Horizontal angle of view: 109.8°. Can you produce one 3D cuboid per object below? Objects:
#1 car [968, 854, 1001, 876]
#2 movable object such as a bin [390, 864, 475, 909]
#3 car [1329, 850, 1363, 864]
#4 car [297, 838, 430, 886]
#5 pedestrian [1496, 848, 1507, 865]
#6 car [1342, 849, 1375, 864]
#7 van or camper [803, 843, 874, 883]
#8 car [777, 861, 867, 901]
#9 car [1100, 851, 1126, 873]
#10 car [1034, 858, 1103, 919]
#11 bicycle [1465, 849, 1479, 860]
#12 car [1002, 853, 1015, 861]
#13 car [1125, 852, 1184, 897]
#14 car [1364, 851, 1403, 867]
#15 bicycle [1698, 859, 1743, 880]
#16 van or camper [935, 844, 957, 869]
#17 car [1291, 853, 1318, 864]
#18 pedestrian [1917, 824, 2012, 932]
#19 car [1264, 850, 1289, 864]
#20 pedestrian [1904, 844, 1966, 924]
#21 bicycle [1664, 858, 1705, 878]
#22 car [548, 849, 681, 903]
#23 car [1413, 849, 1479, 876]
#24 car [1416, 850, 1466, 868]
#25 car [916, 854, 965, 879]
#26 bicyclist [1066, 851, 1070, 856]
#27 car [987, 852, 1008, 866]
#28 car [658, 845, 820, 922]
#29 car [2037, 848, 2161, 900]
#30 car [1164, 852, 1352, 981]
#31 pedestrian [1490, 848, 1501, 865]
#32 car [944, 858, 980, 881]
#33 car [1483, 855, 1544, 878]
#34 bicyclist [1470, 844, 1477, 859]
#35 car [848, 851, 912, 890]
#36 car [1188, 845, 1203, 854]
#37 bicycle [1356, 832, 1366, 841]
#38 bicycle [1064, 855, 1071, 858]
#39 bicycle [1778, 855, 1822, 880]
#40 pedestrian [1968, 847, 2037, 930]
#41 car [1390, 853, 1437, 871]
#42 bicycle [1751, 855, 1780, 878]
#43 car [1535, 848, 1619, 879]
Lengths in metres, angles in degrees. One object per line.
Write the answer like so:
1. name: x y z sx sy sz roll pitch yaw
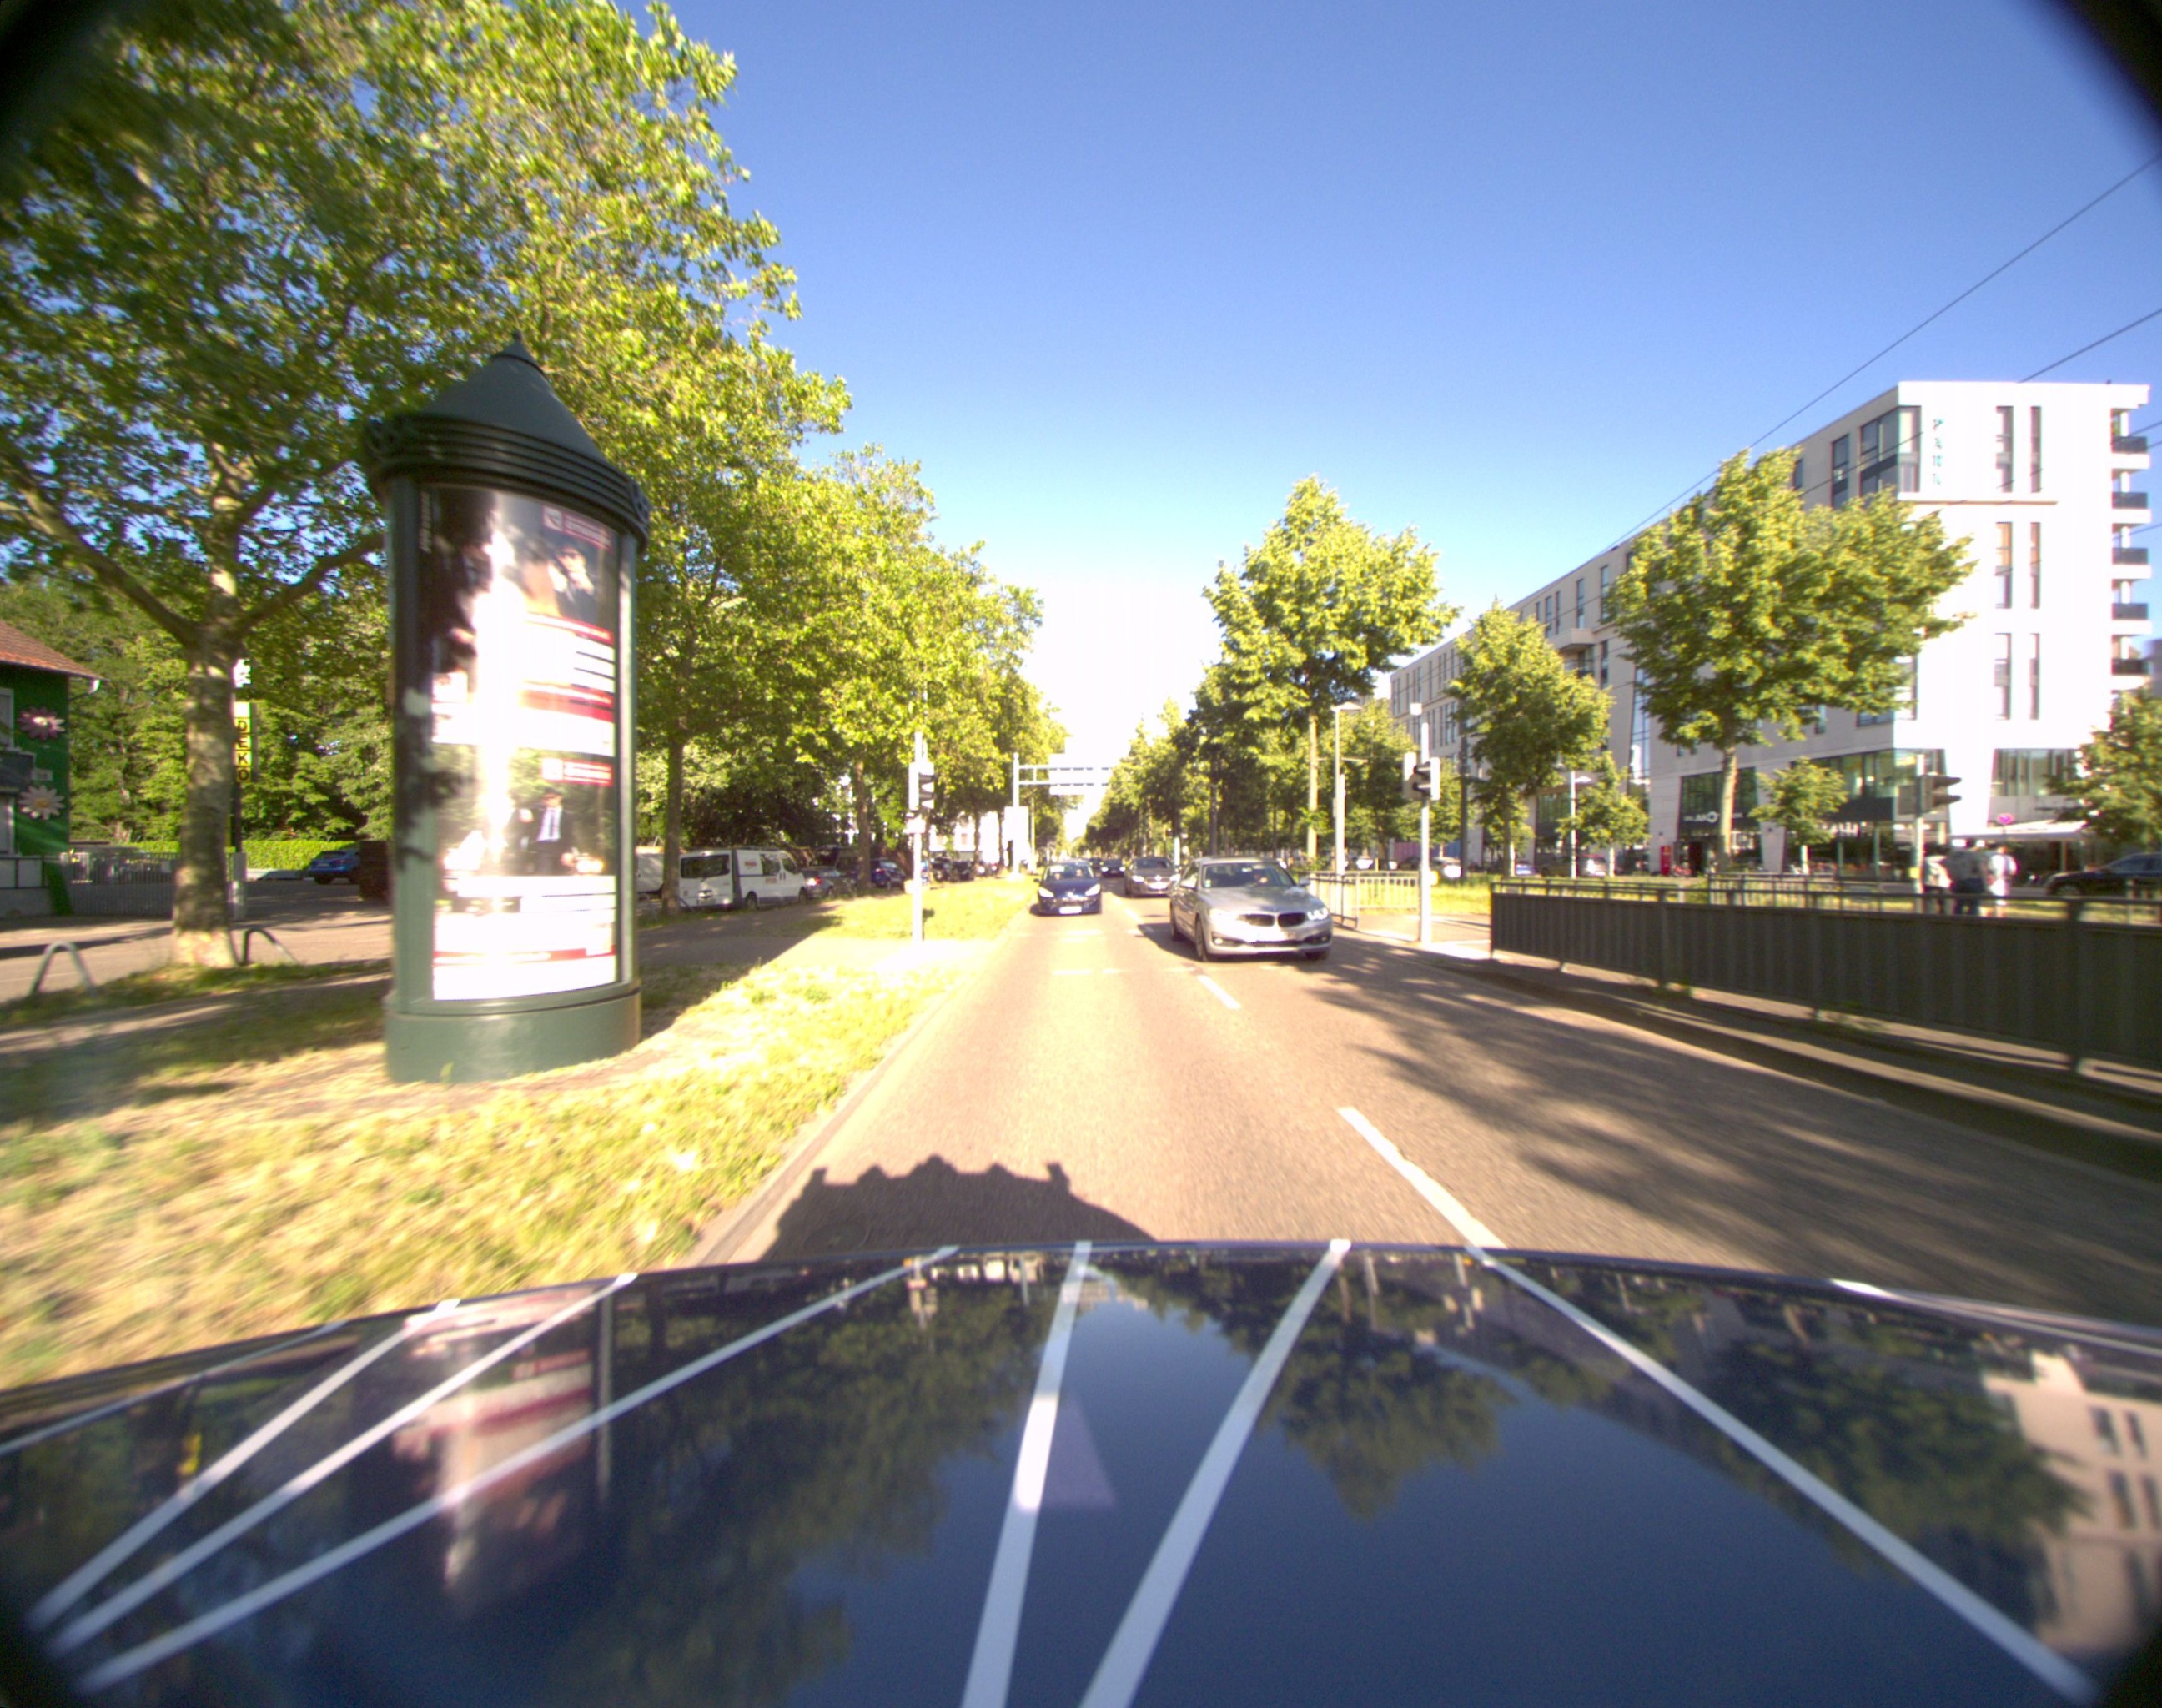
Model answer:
1. car: -7.591 0.860 60.135 1.797 1.551 4.020 -4 1 3
2. movable object such as a bin: -22.533 1.109 26.447 1.648 1.461 1.485 1 1 -1
3. car: 30.812 0.329 88.492 1.999 1.433 4.777 -2 1 -3
4. car: -32.606 0.313 34.721 1.998 2.002 4.001 -2 1 5
5. pedestrian: 41.243 0.240 74.543 0.637 1.641 0.719 -2 1 -8
6. car: 30.481 0.242 83.592 1.999 1.433 4.455 -2 1 -1
7. van or camper: -17.421 0.608 54.955 2.562 2.668 6.567 1 0 4
8. car: -9.911 0.974 29.403 1.998 1.282 4.052 -2 1 1
9. car: 2.407 0.601 58.089 1.782 1.571 3.783 -2 1 0
10. car: -0.295 0.907 21.791 1.766 1.462 3.999 -2 1 1
11. bicycle: 36.376 0.013 70.748 0.380 1.011 1.800 -2 1 1
12. car: -14.872 0.603 155.155 1.998 1.477 4.402 2 1 2
13. car: 2.689 0.708 28.741 1.951 1.514 4.000 -1 1 2
14. car: 30.772 0.510 77.410 1.999 1.433 4.454 -2 1 -3
15. bicycle: 38.440 0.900 45.716 0.735 1.191 2.240 -2 1 -1
16. van or camper: -16.013 0.263 90.387 1.999 2.715 4.962 2 1 -3
17. car: 30.810 0.627 104.787 1.999 1.433 4.923 -2 1 -3
18. pedestrian: 15.592 0.402 13.426 0.823 1.825 0.726 -2 1 -3
19. car: 22.522 0.292 87.569 1.998 1.562 4.167 -1 0 2
20. pedestrian: 16.736 0.574 14.902 0.551 1.509 0.588 -2 1 5
21. bicycle: 38.458 0.867 48.444 0.735 1.191 2.240 -2 1 -1
22. car: -18.973 0.808 31.234 2.091 2.002 4.943 -1 0 4
23. car: 22.359 0.497 46.723 1.999 1.477 3.998 -2 1 -2
24. car: 31.167 0.381 65.944 1.999 1.433 4.454 -2 1 -3
25. car: -8.809 0.765 48.047 1.998 1.373 4.677 -3 0 3
26. bicyclist: -3.870 -0.097 222.714 1.086 1.315 0.639 0 1 2
27. car: -10.447 0.626 95.005 2.001 1.630 3.994 -2 1 -16
28. car: -10.188 0.757 23.326 2.195 2.002 5.819 -2 1 1
29. car: 31.402 0.559 21.913 1.884 1.426 4.611 -1 0 1
30. car: 2.529 0.804 11.980 1.887 1.569 4.277 -2 1 -1
31. pedestrian: 40.436 0.276 74.094 0.637 1.641 0.720 -2 1 -3
32. car: -8.336 1.063 53.421 1.797 1.429 3.884 -2 1 1
33. car: 31.044 0.883 54.724 1.963 1.433 4.264 -2 1 0
34. bicyclist: 36.272 -0.245 70.220 0.368 1.296 0.719 -2 1 4
35. car: -9.505 0.733 36.233 1.741 1.632 4.352 -2 1 1
36. car: 19.694 -0.865 130.606 1.998 1.433 4.456 -2 1 2
37. bicycle: 37.723 -2.352 102.386 0.599 1.273 1.608 -2 1 -2
38. bicycle: -3.886 0.650 222.699 1.928 0.899 0.647 0 1 2
39. bicycle: 38.479 0.699 40.686 0.589 1.245 1.839 -2 1 -1
40. pedestrian: 17.174 0.626 14.167 0.544 1.488 0.603 -2 1 4
41. car: 30.937 0.728 70.903 1.999 1.433 4.935 -2 1 -3
42. bicycle: 38.489 0.693 42.737 0.588 1.245 1.842 -2 1 21
43. car: 31.063 0.557 47.811 1.999 1.761 4.774 -2 1 -3
